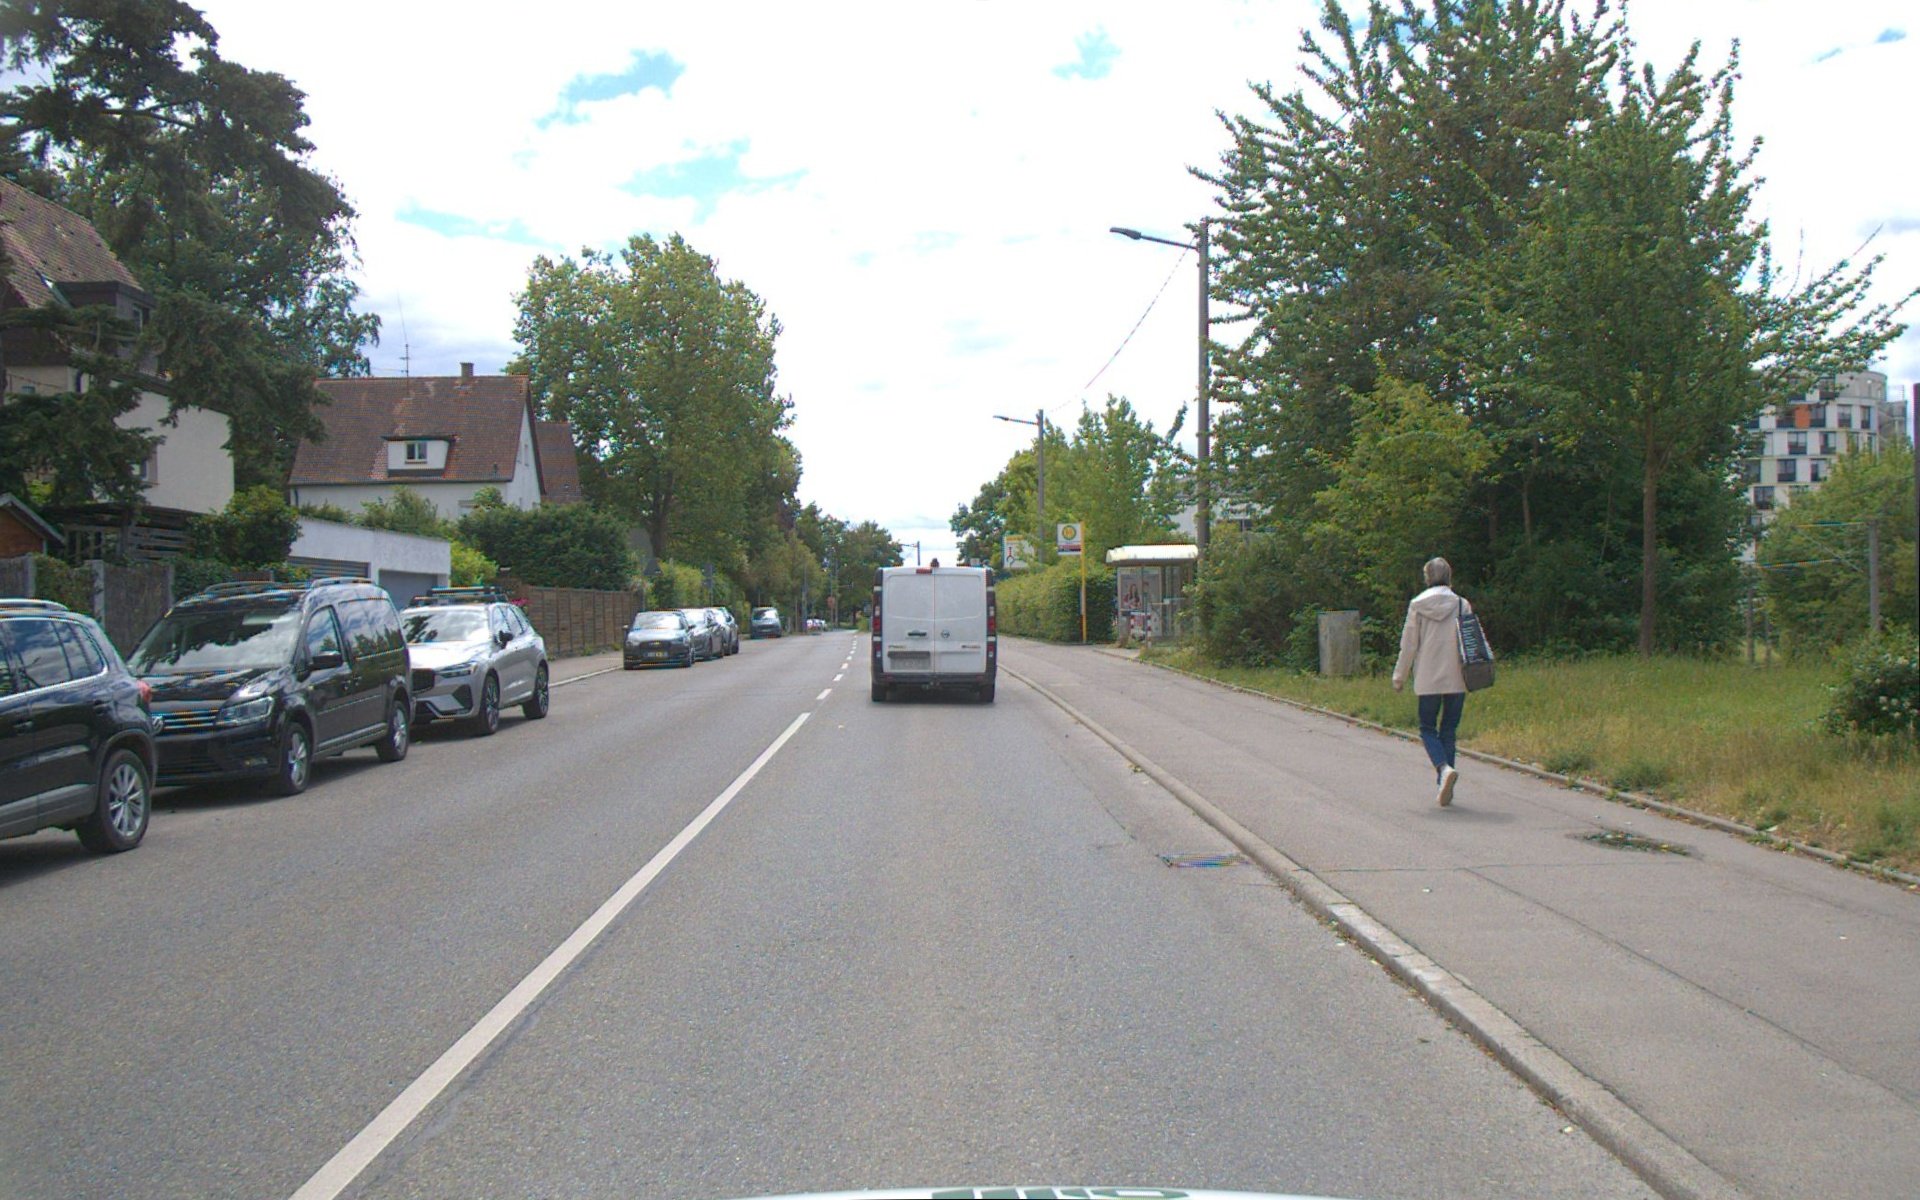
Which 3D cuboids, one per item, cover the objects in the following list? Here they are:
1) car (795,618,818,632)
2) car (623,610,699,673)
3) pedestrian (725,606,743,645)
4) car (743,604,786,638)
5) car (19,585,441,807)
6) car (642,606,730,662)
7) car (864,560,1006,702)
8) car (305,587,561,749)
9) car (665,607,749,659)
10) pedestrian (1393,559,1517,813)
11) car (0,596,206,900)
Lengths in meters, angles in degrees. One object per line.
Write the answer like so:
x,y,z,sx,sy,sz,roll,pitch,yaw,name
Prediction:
-16.835,2.777,181.194,2.027,1.410,4.035,-1,0,-12,car
-7.669,1.030,42.692,1.620,1.452,3.900,-2,0,-7,car
-12.016,1.357,87.846,0.855,2.049,1.039,-2,-1,-7,pedestrian
-10.888,1.142,91.833,2.093,1.803,4.453,0,0,-10,car
-6.660,0.782,15.807,2.025,1.785,4.881,0,0,-3,car
-7.822,0.938,47.608,1.829,1.484,4.487,-1,0,-1,car
-0.397,0.442,25.789,1.993,1.979,4.992,0,0,-1,car
-6.716,0.776,21.673,1.945,1.850,4.706,-1,0,-2,car
-8.078,1.019,53.124,1.953,1.505,4.646,-2,0,0,car
3.396,0.573,11.391,0.671,1.688,0.690,0,0,3,pedestrian
-6.277,0.886,9.734,1.594,1.707,4.582,-3,0,-2,car
